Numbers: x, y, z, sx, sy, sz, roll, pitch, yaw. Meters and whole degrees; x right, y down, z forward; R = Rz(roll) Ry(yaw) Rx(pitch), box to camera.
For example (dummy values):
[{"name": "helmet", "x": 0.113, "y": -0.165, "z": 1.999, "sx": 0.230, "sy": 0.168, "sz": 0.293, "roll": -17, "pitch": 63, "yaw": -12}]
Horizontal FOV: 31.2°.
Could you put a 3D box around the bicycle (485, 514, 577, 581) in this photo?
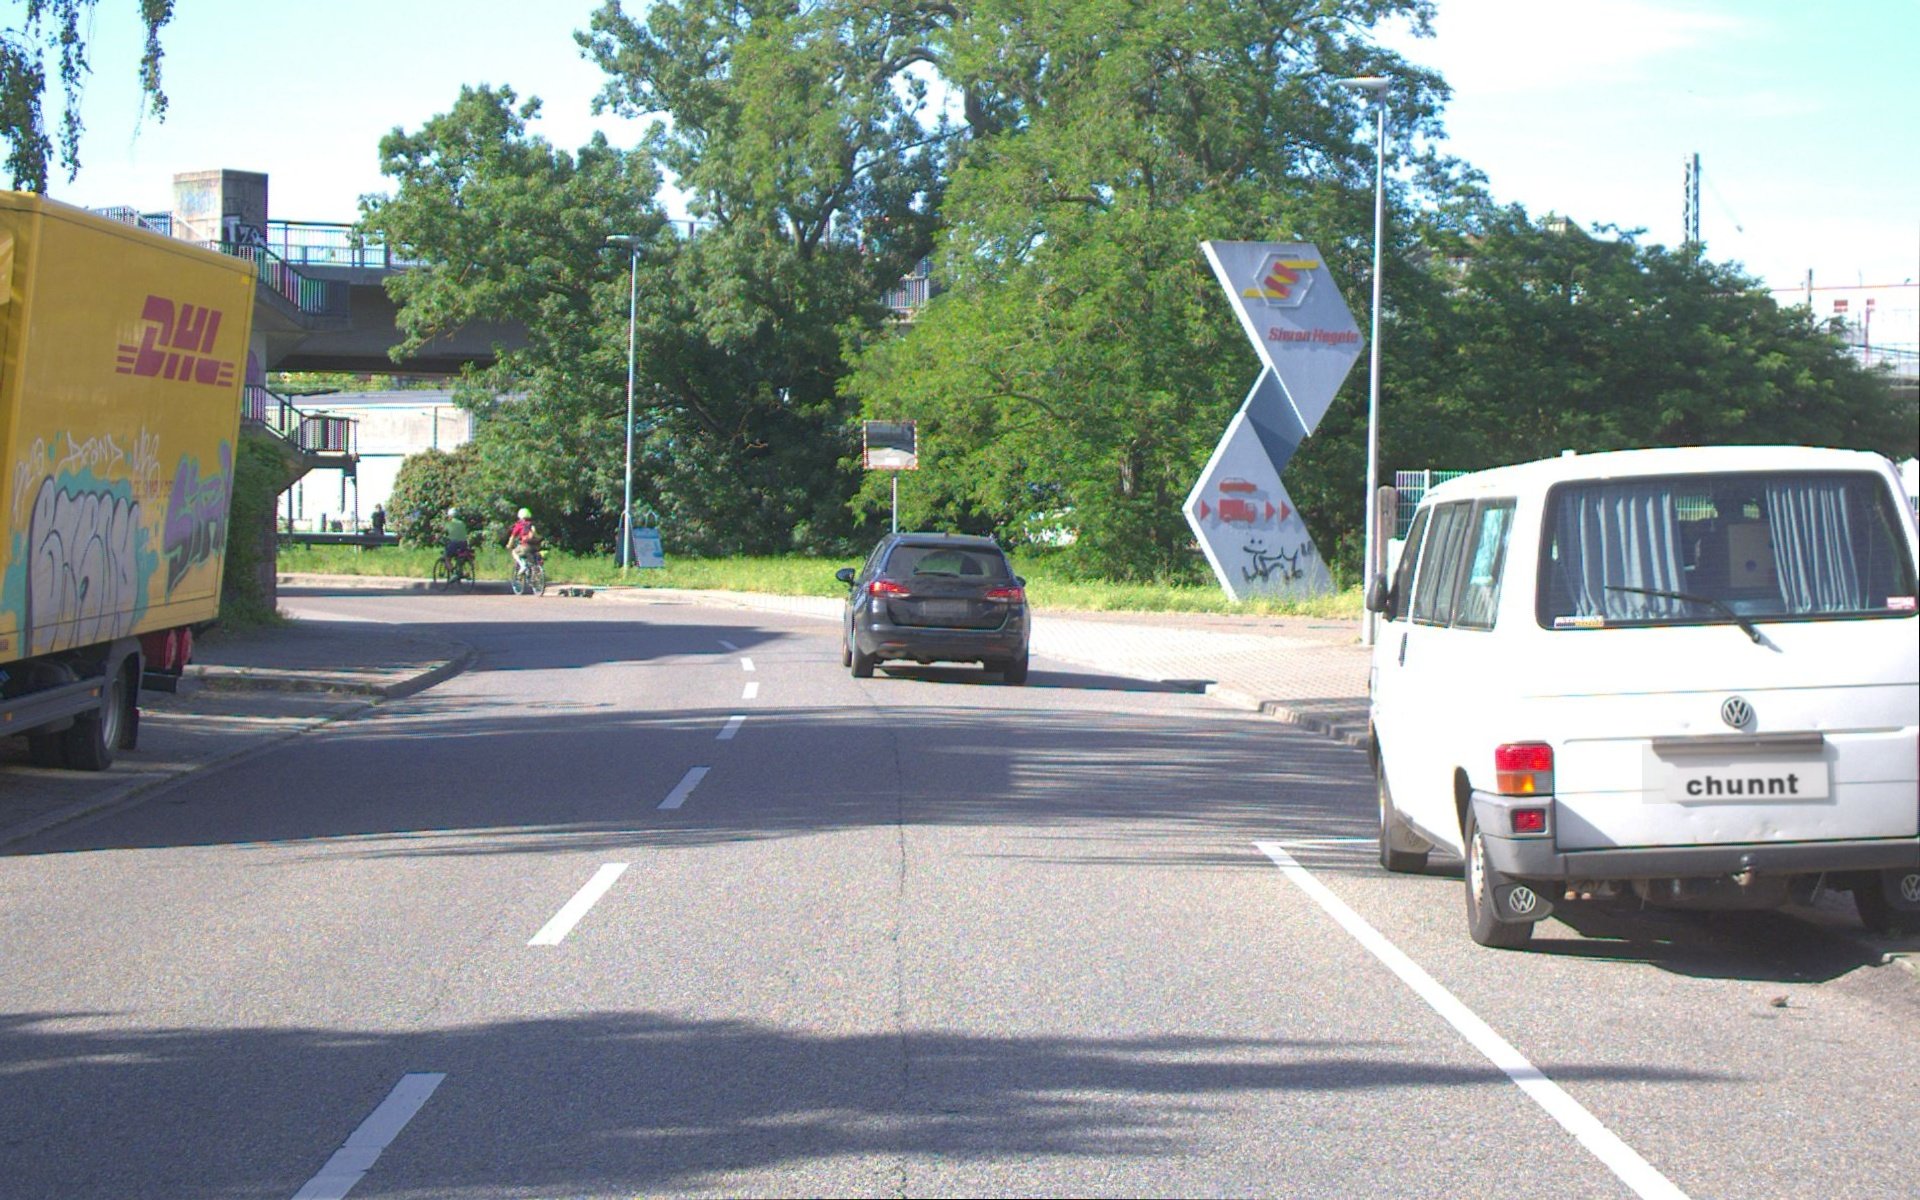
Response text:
[{"name": "bicycle", "x": -8.545, "y": -1.052, "z": 68.349, "sx": 0.803, "sy": 1.263, "sz": 2.258, "roll": 2, "pitch": 1, "yaw": -35}]

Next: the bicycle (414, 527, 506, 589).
[{"name": "bicycle", "x": -10.416, "y": -0.881, "z": 71.552, "sx": 0.804, "sy": 1.217, "sz": 2.258, "roll": 2, "pitch": 1, "yaw": -40}]

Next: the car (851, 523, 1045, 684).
[{"name": "car", "x": -0.147, "y": -0.008, "z": 35.420, "sx": 1.847, "sy": 1.525, "sz": 4.000, "roll": 1, "pitch": 1, "yaw": -1}]

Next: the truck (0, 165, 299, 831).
[{"name": "truck", "x": -6.300, "y": -0.726, "z": 20.720, "sx": 2.631, "sy": 3.493, "sz": 8.657, "roll": 7, "pitch": 2, "yaw": 0}]

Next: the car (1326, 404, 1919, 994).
[{"name": "car", "x": 2.814, "y": 0.324, "z": 14.643, "sx": 1.874, "sy": 2.007, "sz": 5.160, "roll": 2, "pitch": 1, "yaw": 0}]
